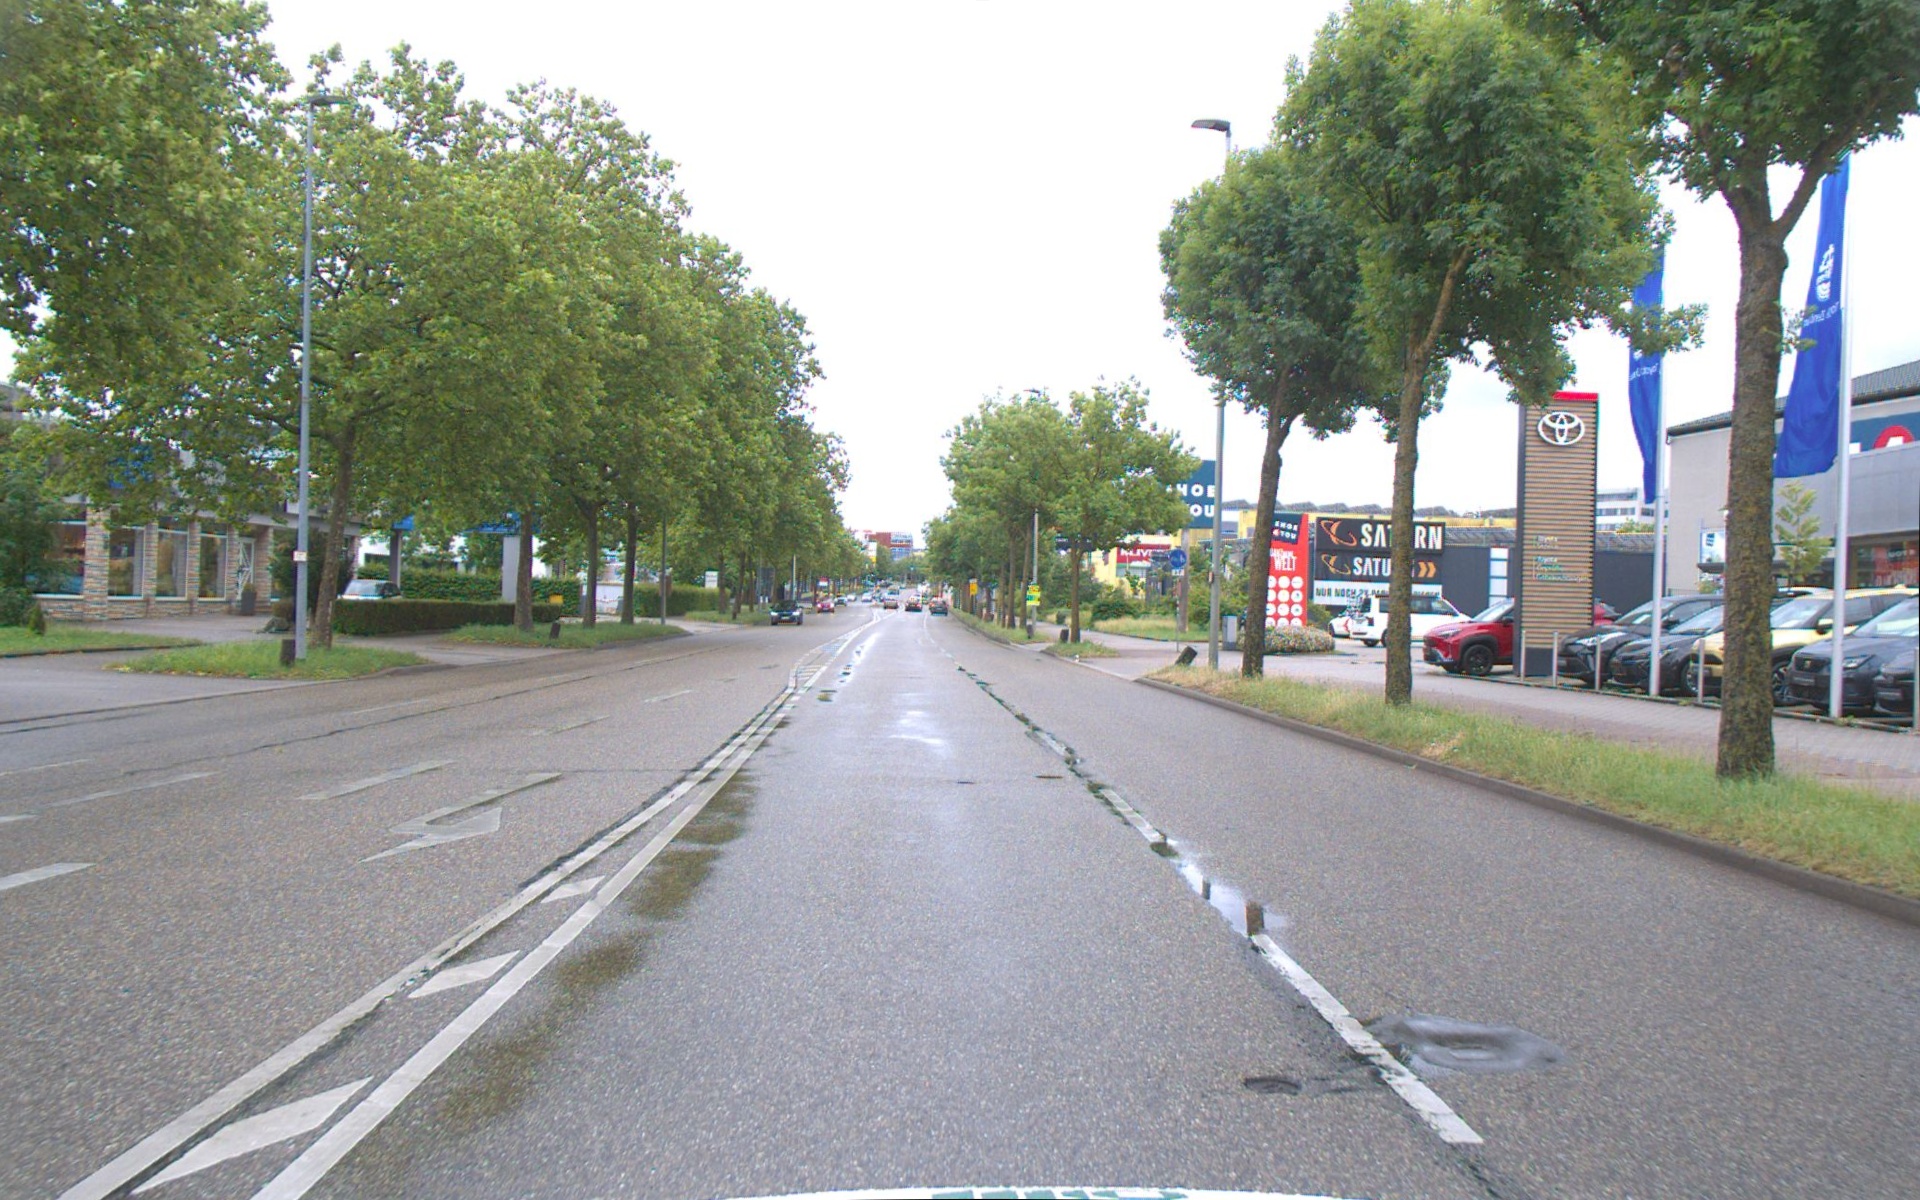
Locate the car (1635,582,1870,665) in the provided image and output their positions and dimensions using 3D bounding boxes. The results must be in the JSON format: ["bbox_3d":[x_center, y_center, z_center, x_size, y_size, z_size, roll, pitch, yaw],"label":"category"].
[{"bbox_3d":[16.588,0.488,34.763,4.023,1.650,1.881,-1,0,3],"label":"car"}]

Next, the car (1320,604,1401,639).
[{"bbox_3d":[18.746,0.999,77.610,1.846,1.494,4.939,1,0,-11],"label":"car"}]

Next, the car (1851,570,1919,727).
[{"bbox_3d":[13.083,0.565,19.769,3.904,1.818,1.812,0,0,1],"label":"car"}]

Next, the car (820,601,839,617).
[{"bbox_3d":[-13.022,0.925,165.282,1.691,1.544,3.820,1,0,-2],"label":"car"}]

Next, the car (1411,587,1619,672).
[{"bbox_3d":[11.690,0.612,34.995,3.763,1.632,1.795,-2,0,-1],"label":"car"}]

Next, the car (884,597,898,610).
[{"bbox_3d":[-9.469,0.531,228.020,1.709,1.730,4.000,1,0,0],"label":"car"}]

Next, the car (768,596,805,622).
[{"bbox_3d":[-10.058,0.520,96.227,1.767,1.489,3.845,0,0,-1],"label":"car"}]

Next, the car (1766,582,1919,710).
[{"bbox_3d":[13.201,0.547,22.188,3.905,1.574,1.711,-2,0,1],"label":"car"}]

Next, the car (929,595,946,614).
[{"bbox_3d":[-2.409,0.460,178.946,1.709,2.049,4.000,1,0,0],"label":"car"}]

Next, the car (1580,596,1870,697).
[{"bbox_3d":[12.361,0.725,26.880,3.906,1.565,1.799,0,0,-1],"label":"car"}]

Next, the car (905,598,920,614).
[{"bbox_3d":[-5.910,0.731,205.350,1.709,2.049,4.000,-1,0,0],"label":"car"}]

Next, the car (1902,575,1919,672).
[{"bbox_3d":[17.244,0.378,26.591,1.836,1.650,4.122,-1,0,0],"label":"car"}]

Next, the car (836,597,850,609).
[{"bbox_3d":[-17.462,0.406,247.272,1.669,1.767,4.000,1,0,1],"label":"car"}]

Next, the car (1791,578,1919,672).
[{"bbox_3d":[17.540,0.425,31.006,1.836,1.650,4.122,-1,0,0],"label":"car"}]

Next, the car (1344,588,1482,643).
[{"bbox_3d":[17.379,0.616,63.558,4.735,2.049,1.985,1,-1,-11],"label":"car"}]

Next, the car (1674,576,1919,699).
[{"bbox_3d":[12.832,0.524,24.497,3.763,1.593,1.665,-3,0,-4],"label":"car"}]

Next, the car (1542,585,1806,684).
[{"bbox_3d":[12.646,0.593,29.446,3.906,1.676,1.844,0,0,-1],"label":"car"}]

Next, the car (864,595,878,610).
[{"bbox_3d":[-12.998,0.338,240.914,1.953,2.049,3.998,1,0,-2],"label":"car"}]
